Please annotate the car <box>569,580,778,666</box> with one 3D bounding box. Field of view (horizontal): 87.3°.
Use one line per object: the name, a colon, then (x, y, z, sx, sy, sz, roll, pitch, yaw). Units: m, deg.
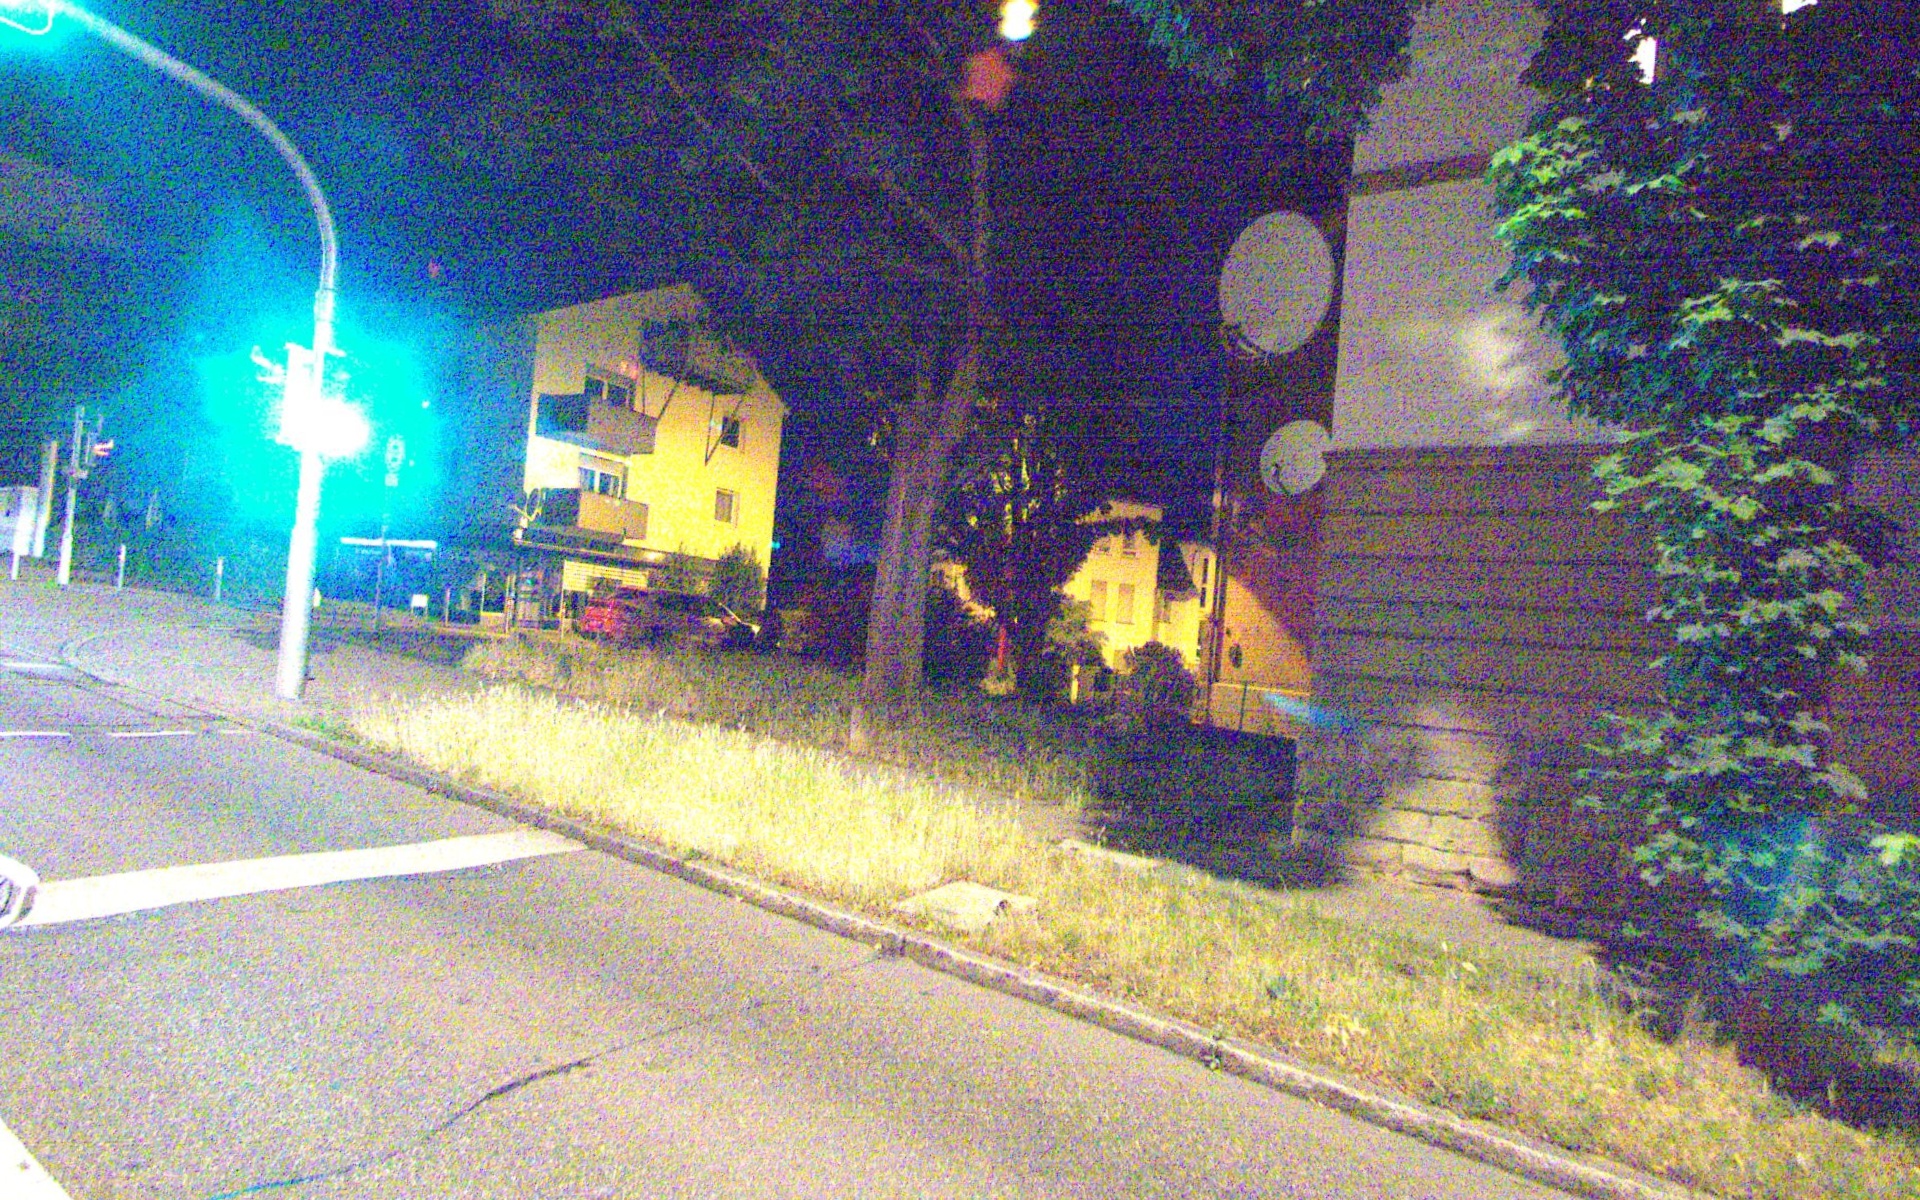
car: (-6.503, 0.584, 23.289, 1.778, 1.577, 4.366, 3, -3, 38)
